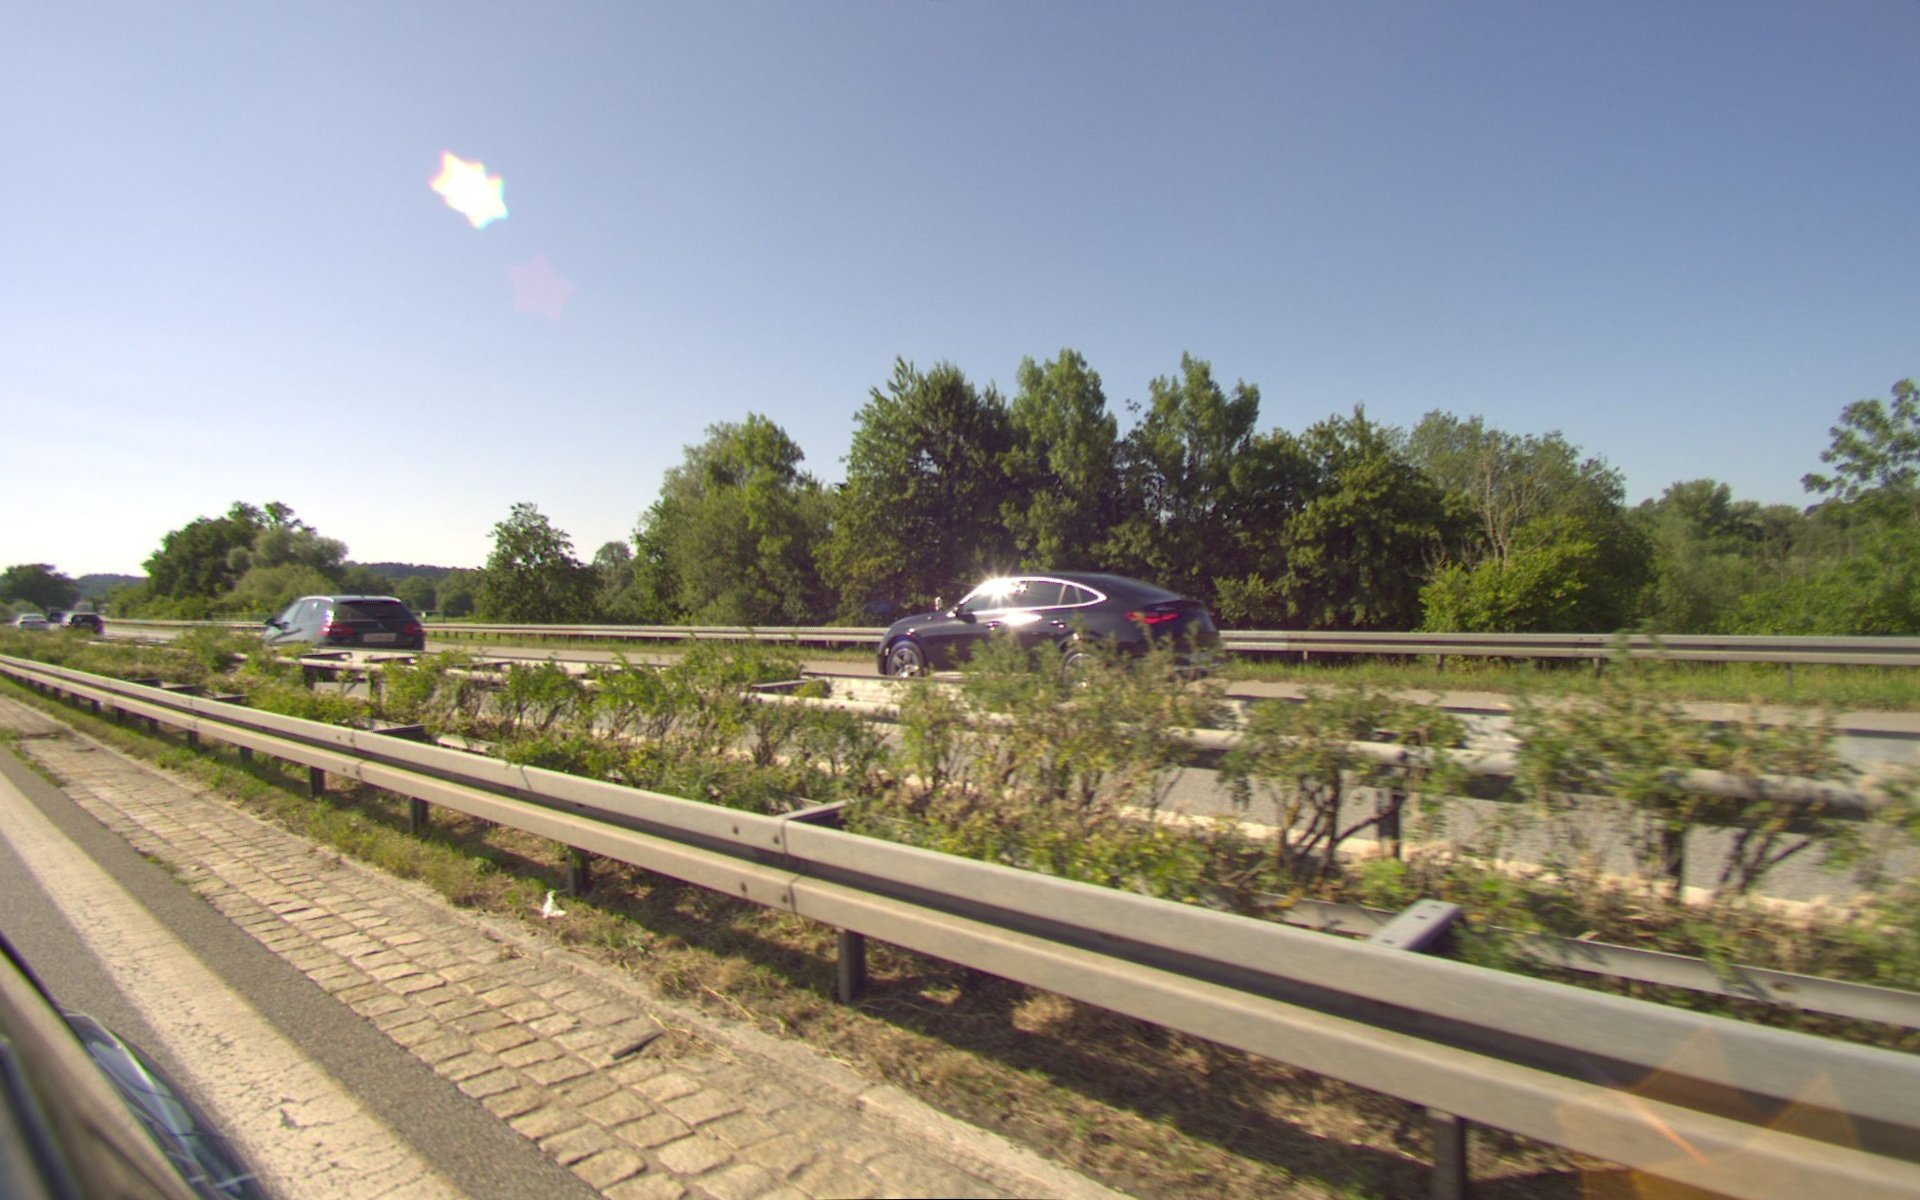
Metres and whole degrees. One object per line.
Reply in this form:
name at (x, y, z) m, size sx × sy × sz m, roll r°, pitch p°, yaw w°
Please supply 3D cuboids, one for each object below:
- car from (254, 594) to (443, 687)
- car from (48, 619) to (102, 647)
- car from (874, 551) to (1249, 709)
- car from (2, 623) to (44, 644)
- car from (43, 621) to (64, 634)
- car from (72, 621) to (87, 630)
car at (-11.130, 0.687, 18.313) m, size 3.998 × 1.493 × 1.834 m, roll -1°, pitch -1°, yaw 42°
car at (-50.532, 1.866, 57.763) m, size 4.504 × 1.481 × 1.754 m, roll -2°, pitch 0°, yaw 41°
car at (1.133, 0.360, 12.784) m, size 4.492 × 1.646 × 1.834 m, roll -1°, pitch -1°, yaw 42°
car at (-69.258, 2.496, 74.768) m, size 4.648 × 1.445 × 1.802 m, roll -2°, pitch 0°, yaw 42°
car at (-120.553, 3.699, 134.515) m, size 1.970 × 1.692 × 5.322 m, roll 1°, pitch -2°, yaw -43°
car at (-159.937, 4.626, 183.782) m, size 1.969 × 1.566 × 4.425 m, roll 1°, pitch -2°, yaw -41°
